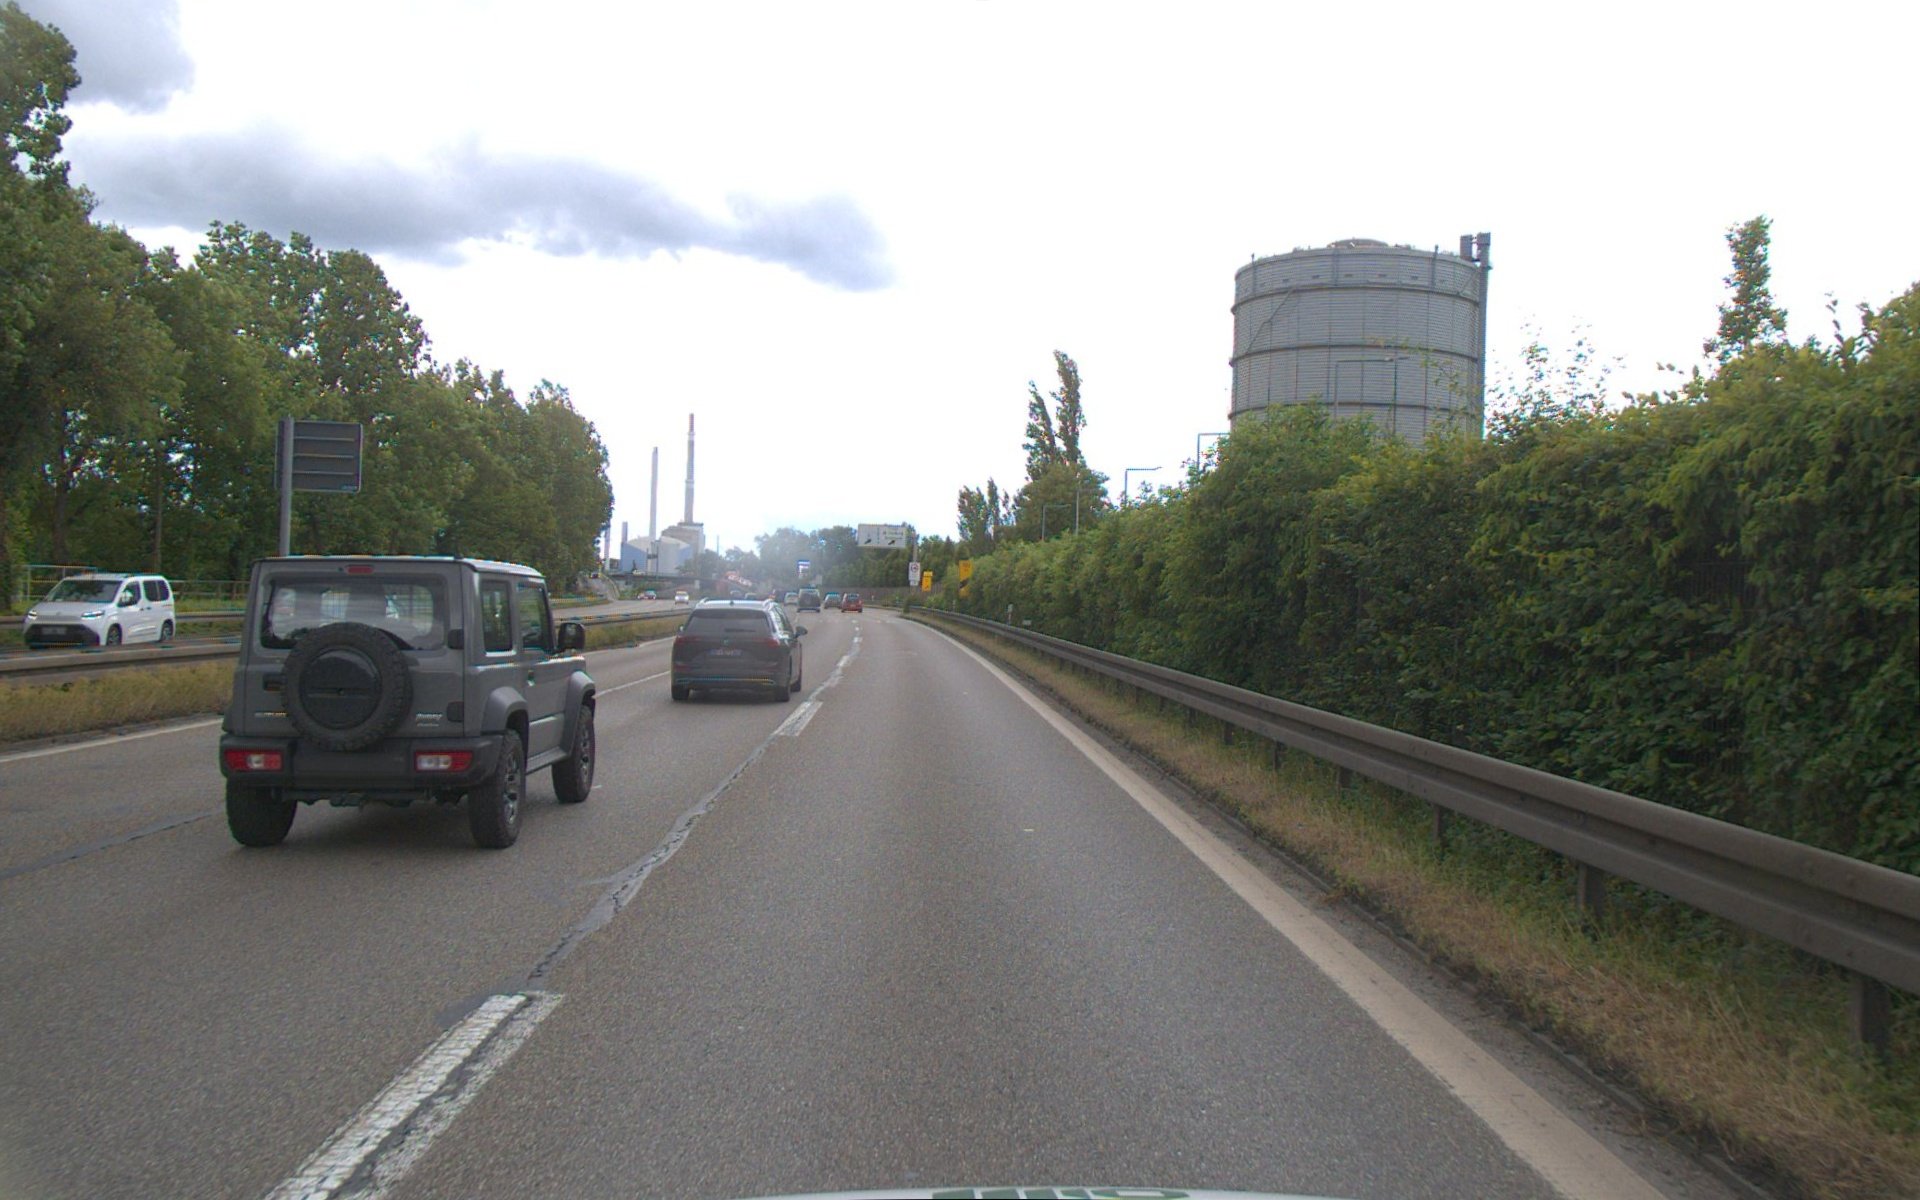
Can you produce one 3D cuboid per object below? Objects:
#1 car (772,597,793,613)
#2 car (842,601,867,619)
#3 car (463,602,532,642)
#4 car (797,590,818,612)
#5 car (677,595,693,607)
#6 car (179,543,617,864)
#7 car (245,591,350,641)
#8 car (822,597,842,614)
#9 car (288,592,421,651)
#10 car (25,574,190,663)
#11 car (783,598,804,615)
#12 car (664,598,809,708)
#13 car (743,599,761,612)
[{"bbox_3d":[-23.052,0.609,214.807,1.979,1.968,4.883,1,0,-14],"label":"car"},{"bbox_3d":[-8.925,0.855,140.022,1.936,1.448,4.894,1,0,-6],"label":"car"},{"bbox_3d":[-17.596,0.801,63.098,1.627,1.449,3.910,1,0,-2],"label":"car"},{"bbox_3d":[-12.522,0.051,135.543,1.665,1.772,3.995,1,0,-6],"label":"car"},{"bbox_3d":[-32.973,0.094,198.142,1.583,1.410,3.728,2,0,-6],"label":"car"},{"bbox_3d":[-3.434,0.556,10.913,1.663,1.715,3.998,1,0,-3],"label":"car"},{"bbox_3d":[-20.836,0.496,52.197,1.683,1.490,4.378,1,0,-2],"label":"car"},{"bbox_3d":[-12.991,0.546,167.348,1.666,1.772,4.383,0,0,-10],"label":"car"},{"bbox_3d":[-16.629,0.564,45.734,1.824,1.490,5.548,1,0,-2],"label":"car"},{"bbox_3d":[-19.705,0.415,38.451,1.578,1.916,4.559,1,0,-2],"label":"car"},{"bbox_3d":[-19.698,0.752,195.532,1.978,1.968,4.885,1,0,-12],"label":"car"},{"bbox_3d":[-3.318,0.733,25.375,1.808,1.448,4.896,2,0,-4],"label":"car"},{"bbox_3d":[-27.777,0.716,220.986,1.670,1.772,4.373,1,0,-16],"label":"car"}]
